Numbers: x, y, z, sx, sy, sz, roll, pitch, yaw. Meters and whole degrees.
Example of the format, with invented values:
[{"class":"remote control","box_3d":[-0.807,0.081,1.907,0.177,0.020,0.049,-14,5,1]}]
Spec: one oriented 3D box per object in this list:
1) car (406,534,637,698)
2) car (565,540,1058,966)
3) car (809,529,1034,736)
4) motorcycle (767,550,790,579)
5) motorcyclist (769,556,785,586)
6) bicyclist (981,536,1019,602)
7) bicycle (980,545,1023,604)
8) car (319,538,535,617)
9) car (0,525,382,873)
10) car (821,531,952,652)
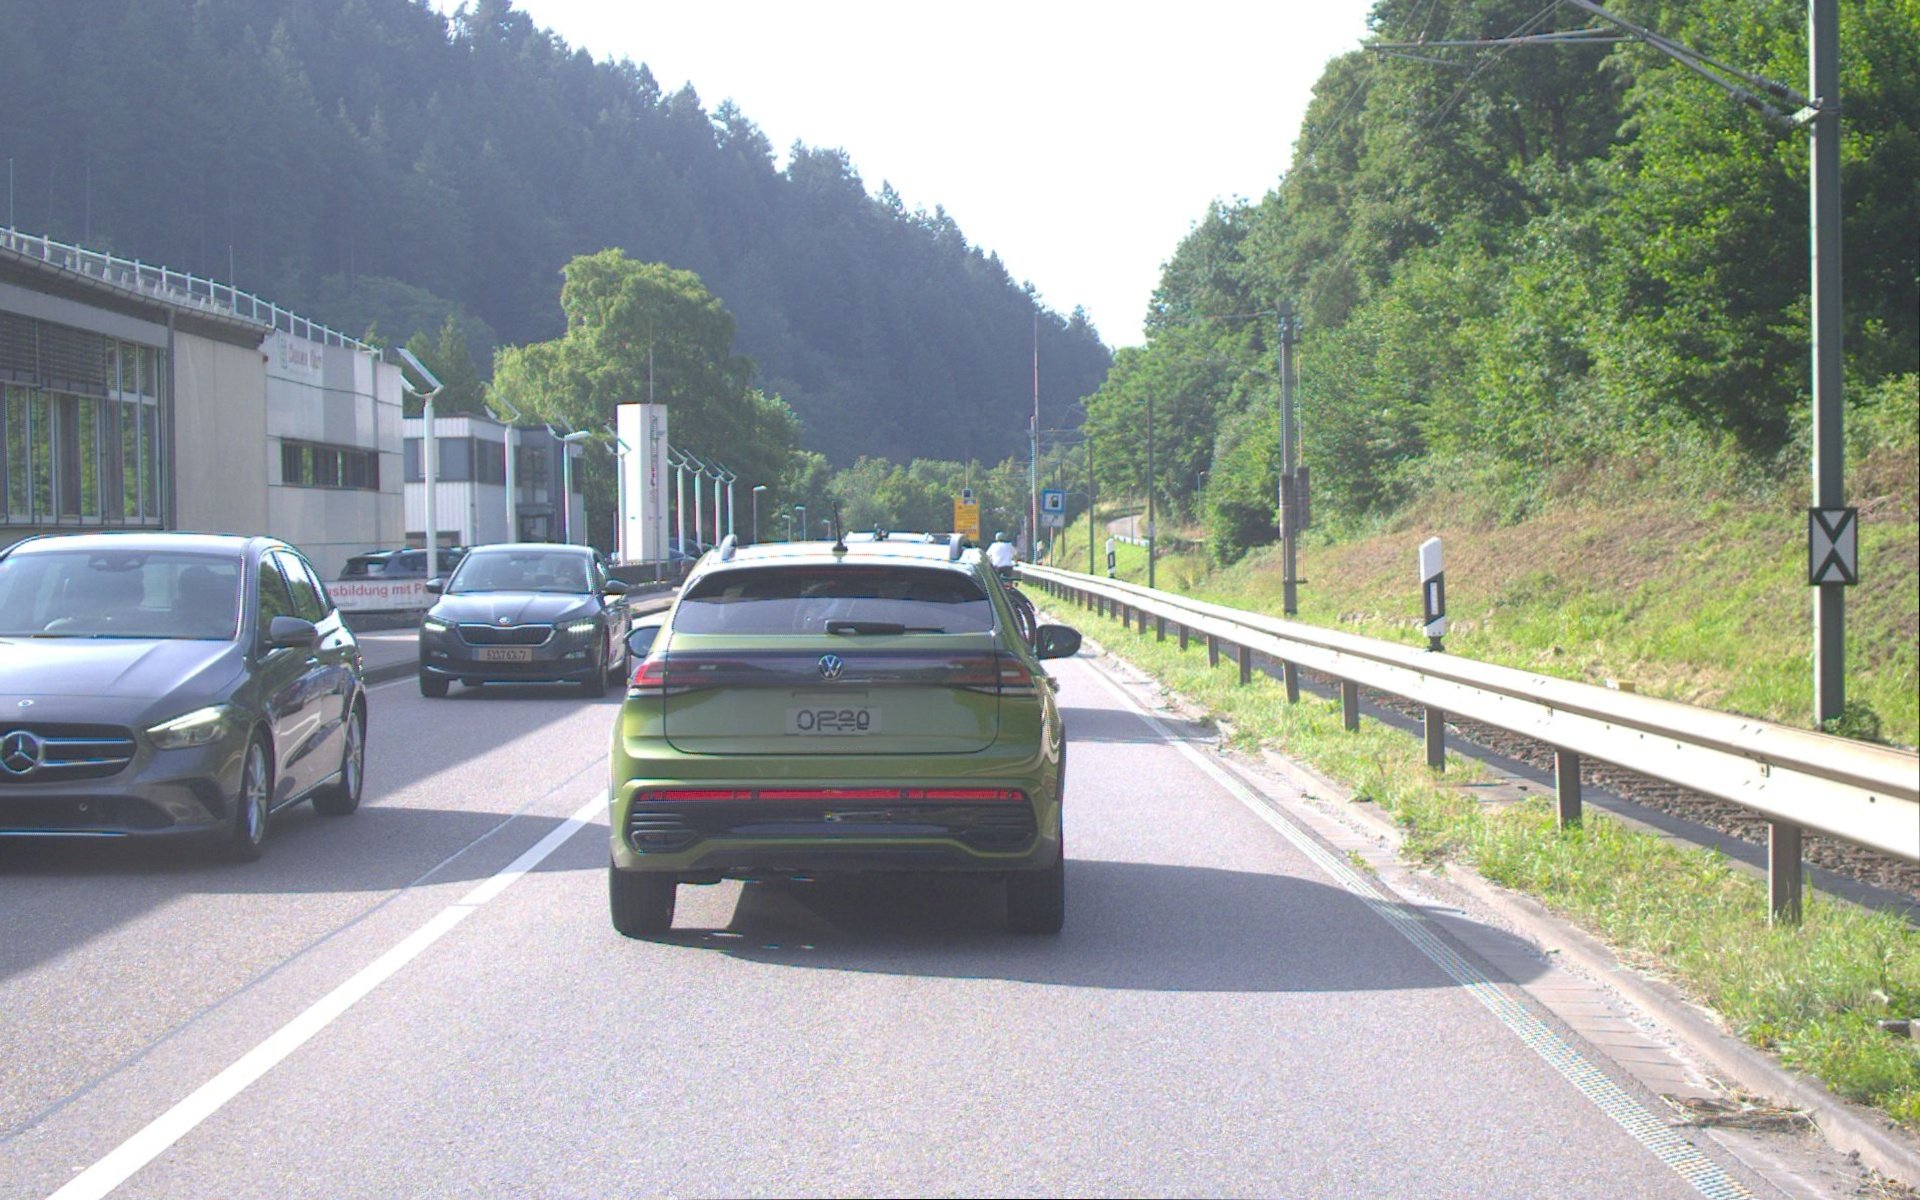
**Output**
[{"class":"car","box_3d":[-4.245,0.108,33.803,1.773,1.485,4.052,1,1,-1]},{"class":"car","box_3d":[-0.570,0.504,14.157,1.739,1.503,4.000,0,1,-1]},{"class":"car","box_3d":[-0.348,0.215,28.656,1.739,1.596,4.000,0,1,-1]},{"class":"motorcycle","box_3d":[-6.750,-1.312,127.817,0.741,1.065,2.492,0,1,-1]},{"class":"motorcyclist","box_3d":[-6.802,-1.091,127.842,0.586,1.121,0.637,0,1,-1]},{"class":"bicyclist","box_3d":[0.869,-0.667,74.317,0.781,1.407,0.675,0,1,-2]},{"class":"bicycle","box_3d":[0.881,-0.551,74.109,0.811,1.246,2.123,0,1,-2]},{"class":"car","box_3d":[-11.013,-0.485,71.245,1.887,1.586,4.165,1,1,41]},{"class":"car","box_3d":[-4.095,0.392,17.229,1.719,1.509,4.199,1,1,-1]},{"class":"car","box_3d":[-1.030,-0.151,47.740,1.739,1.596,4.000,0,1,-1]}]
